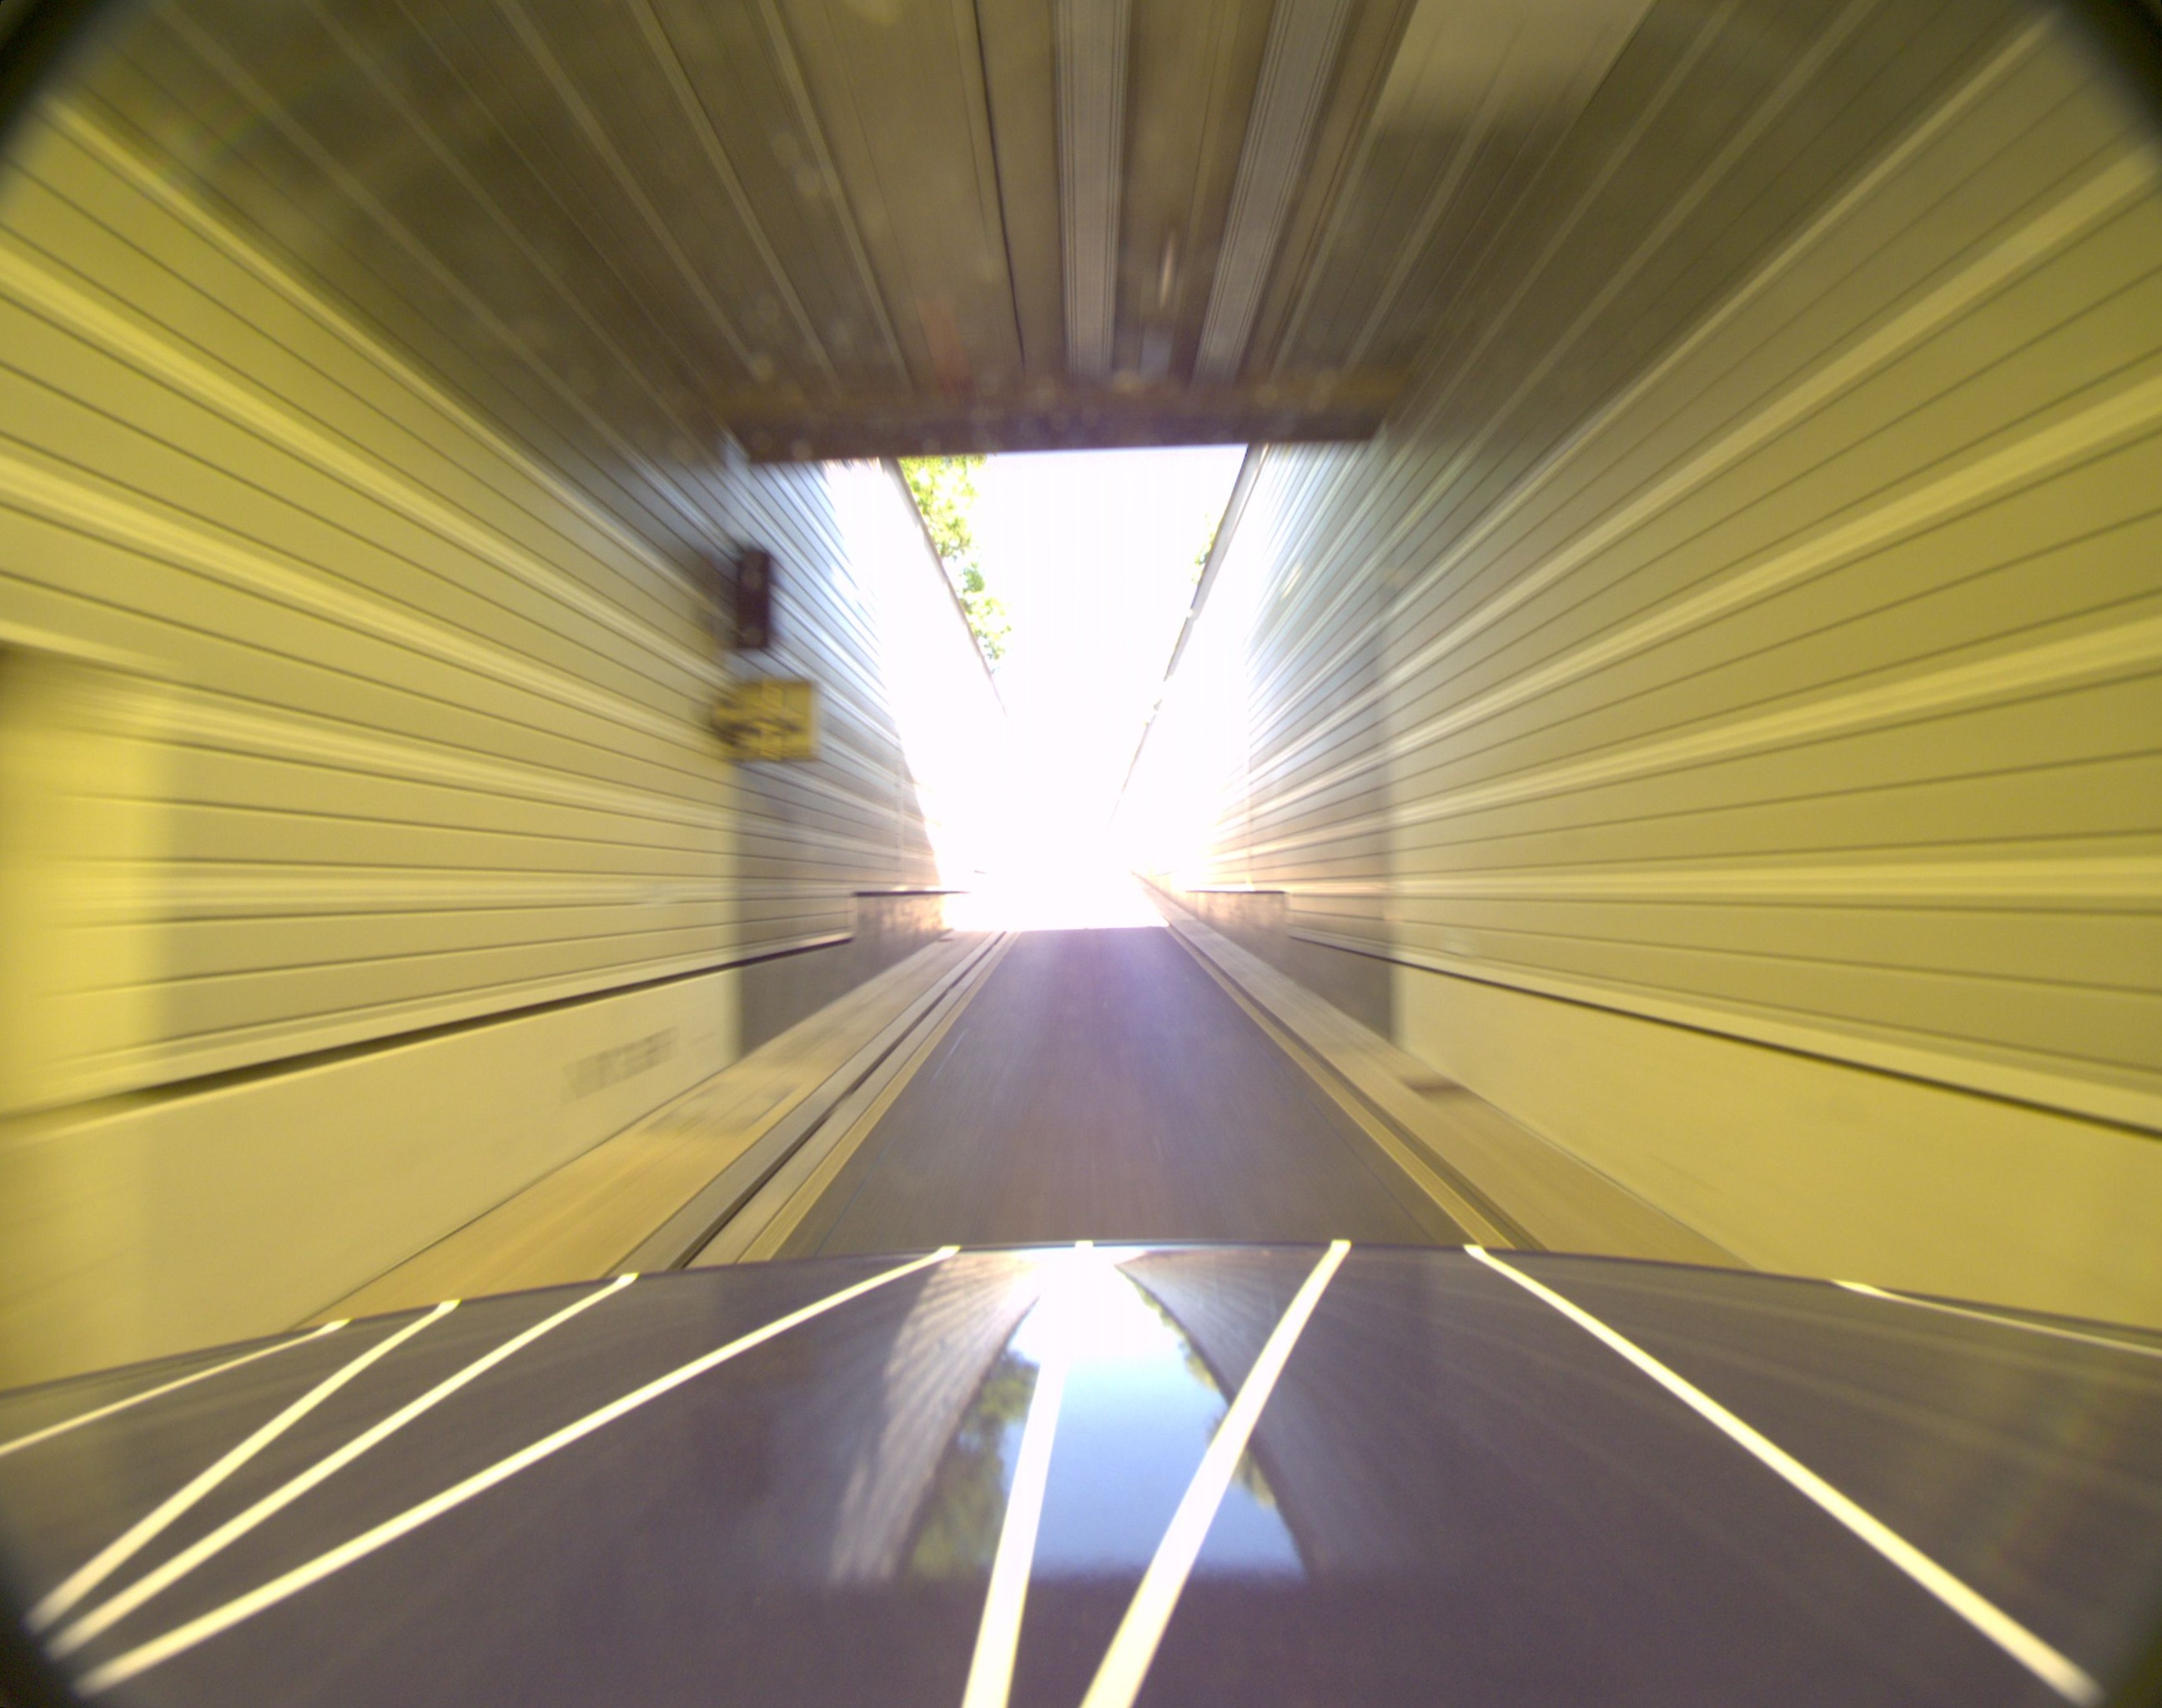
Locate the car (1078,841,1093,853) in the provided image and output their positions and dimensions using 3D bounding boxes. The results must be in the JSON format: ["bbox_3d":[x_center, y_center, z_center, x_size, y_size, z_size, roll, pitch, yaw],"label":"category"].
[{"bbox_3d":[0.569,-0.884,99.185,1.829,1.327,4.002,-1,-2,1],"label":"car"}]
